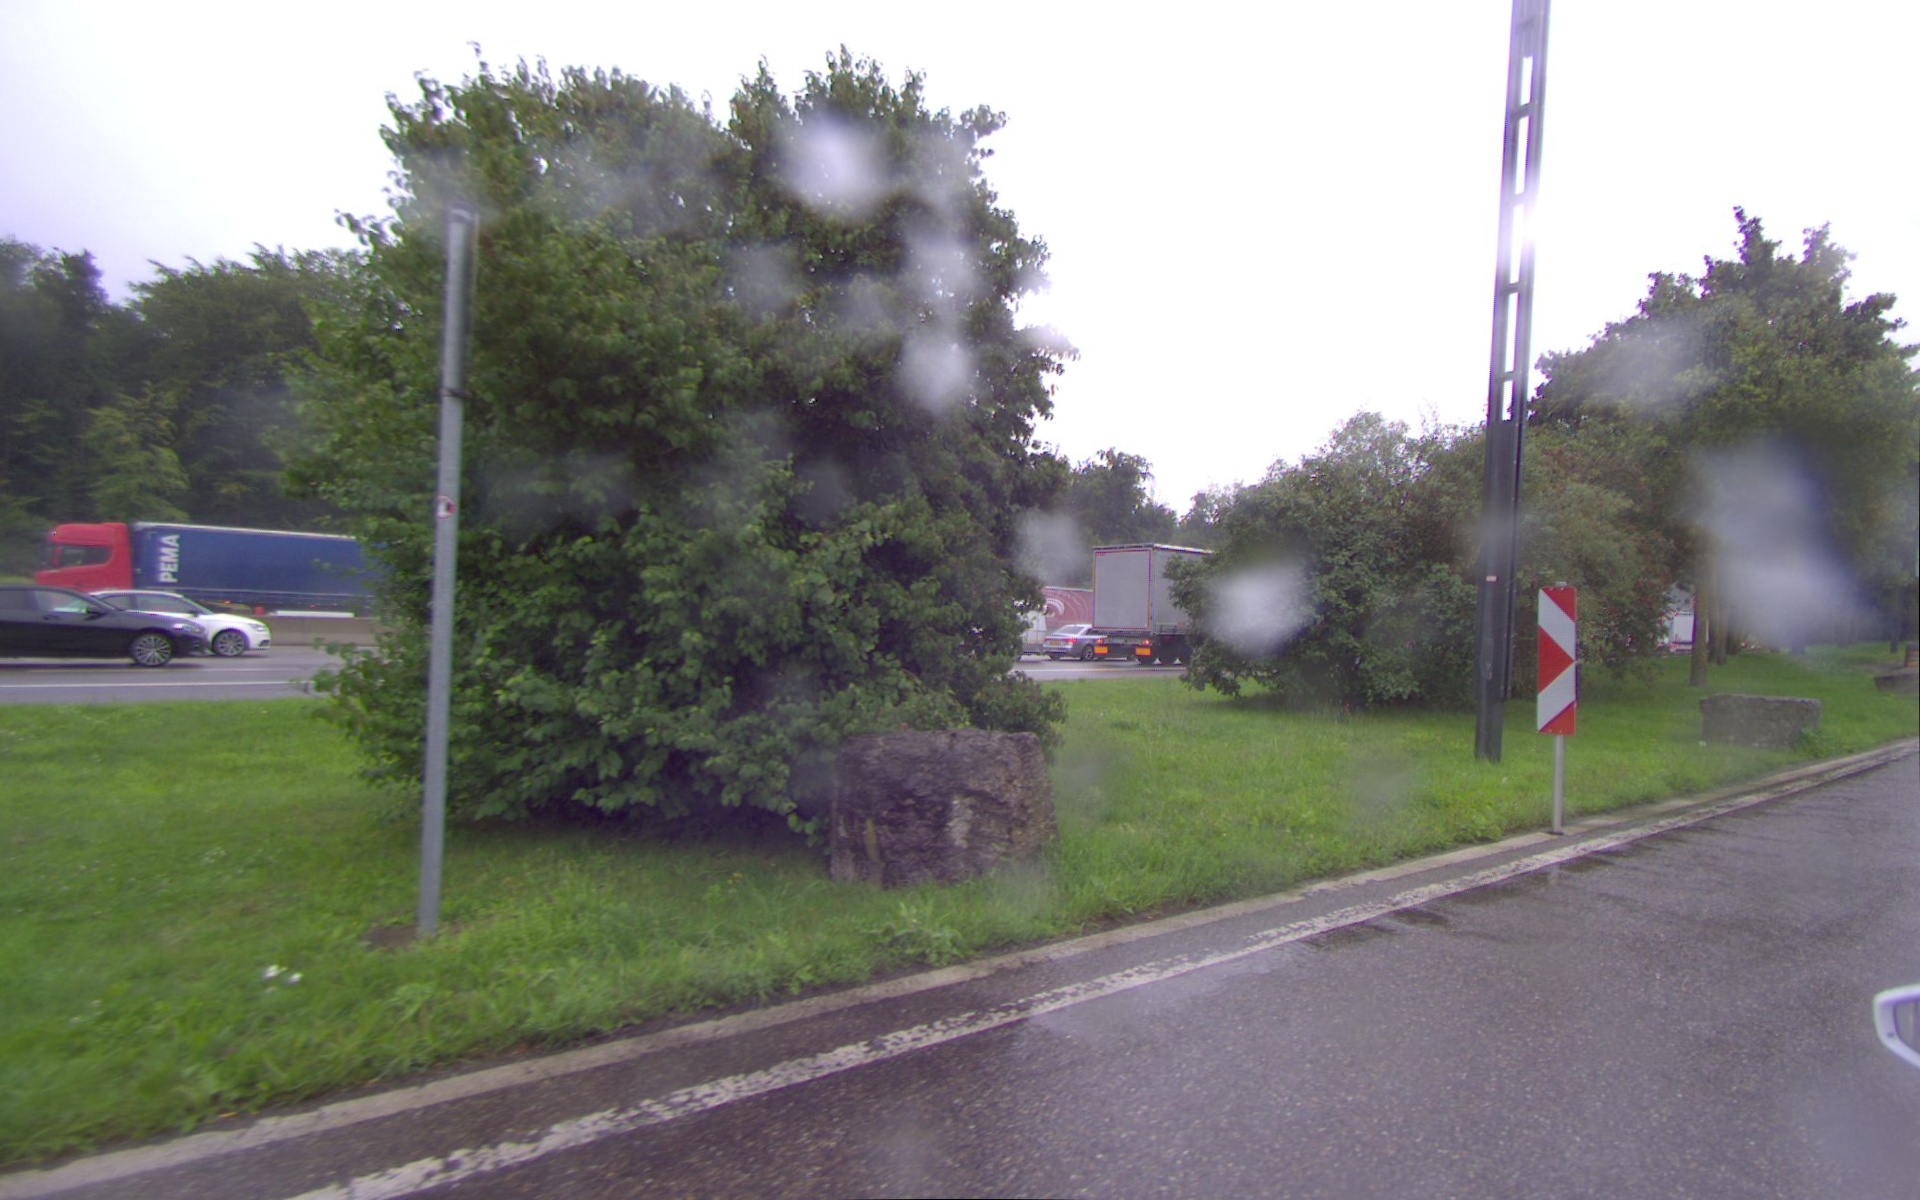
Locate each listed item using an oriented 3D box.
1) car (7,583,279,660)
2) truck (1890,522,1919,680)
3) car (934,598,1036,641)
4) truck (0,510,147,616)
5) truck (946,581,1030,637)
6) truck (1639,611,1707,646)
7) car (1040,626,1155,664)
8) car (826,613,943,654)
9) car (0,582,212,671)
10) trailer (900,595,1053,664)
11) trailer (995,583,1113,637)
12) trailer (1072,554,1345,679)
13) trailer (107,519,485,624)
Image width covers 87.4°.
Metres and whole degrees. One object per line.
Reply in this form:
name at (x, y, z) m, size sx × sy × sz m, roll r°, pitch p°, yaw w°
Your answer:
car at (-17.897, 0.506, 22.233) m, size 4.467 × 1.500 × 1.864 m, roll 4°, pitch -2°, yaw -41°
truck at (27.041, 0.100, 26.560) m, size 6.267 × 3.956 × 2.890 m, roll 1°, pitch 0°, yaw -41°
car at (1.434, 1.102, 55.365) m, size 5.780 × 2.126 × 1.976 m, roll 3°, pitch -1°, yaw -42°
truck at (-33.361, -1.379, 36.959) m, size 5.132 × 3.556 × 2.170 m, roll 3°, pitch 2°, yaw -43°
truck at (2.034, 0.662, 71.125) m, size 5.763 × 3.668 × 2.416 m, roll 1°, pitch 4°, yaw -45°
truck at (73.369, 2.935, 103.402) m, size 1.984 × 3.044 × 5.198 m, roll 0°, pitch 5°, yaw -40°
car at (5.281, 1.725, 38.188) m, size 4.548 × 1.366 × 1.829 m, roll 3°, pitch -2°, yaw -42°
car at (-3.062, 1.392, 41.262) m, size 4.492 × 1.560 × 1.977 m, roll 3°, pitch -2°, yaw -41°
car at (-16.326, 0.462, 17.997) m, size 4.473 × 1.500 × 1.861 m, roll 4°, pitch -2°, yaw -44°
trailer at (0.626, 1.045, 34.315) m, size 5.141 × 2.184 × 2.110 m, roll 3°, pitch -2°, yaw -42°
trailer at (7.324, 0.777, 76.363) m, size 10.670 × 3.662 × 2.432 m, roll 1°, pitch 4°, yaw -45°
trailer at (9.951, 0.863, 38.161) m, size 14.020 × 4.035 × 2.868 m, roll 4°, pitch -3°, yaw -43°
trailer at (-27.426, -1.017, 42.493) m, size 13.041 × 3.543 × 2.169 m, roll 3°, pitch 2°, yaw -43°
